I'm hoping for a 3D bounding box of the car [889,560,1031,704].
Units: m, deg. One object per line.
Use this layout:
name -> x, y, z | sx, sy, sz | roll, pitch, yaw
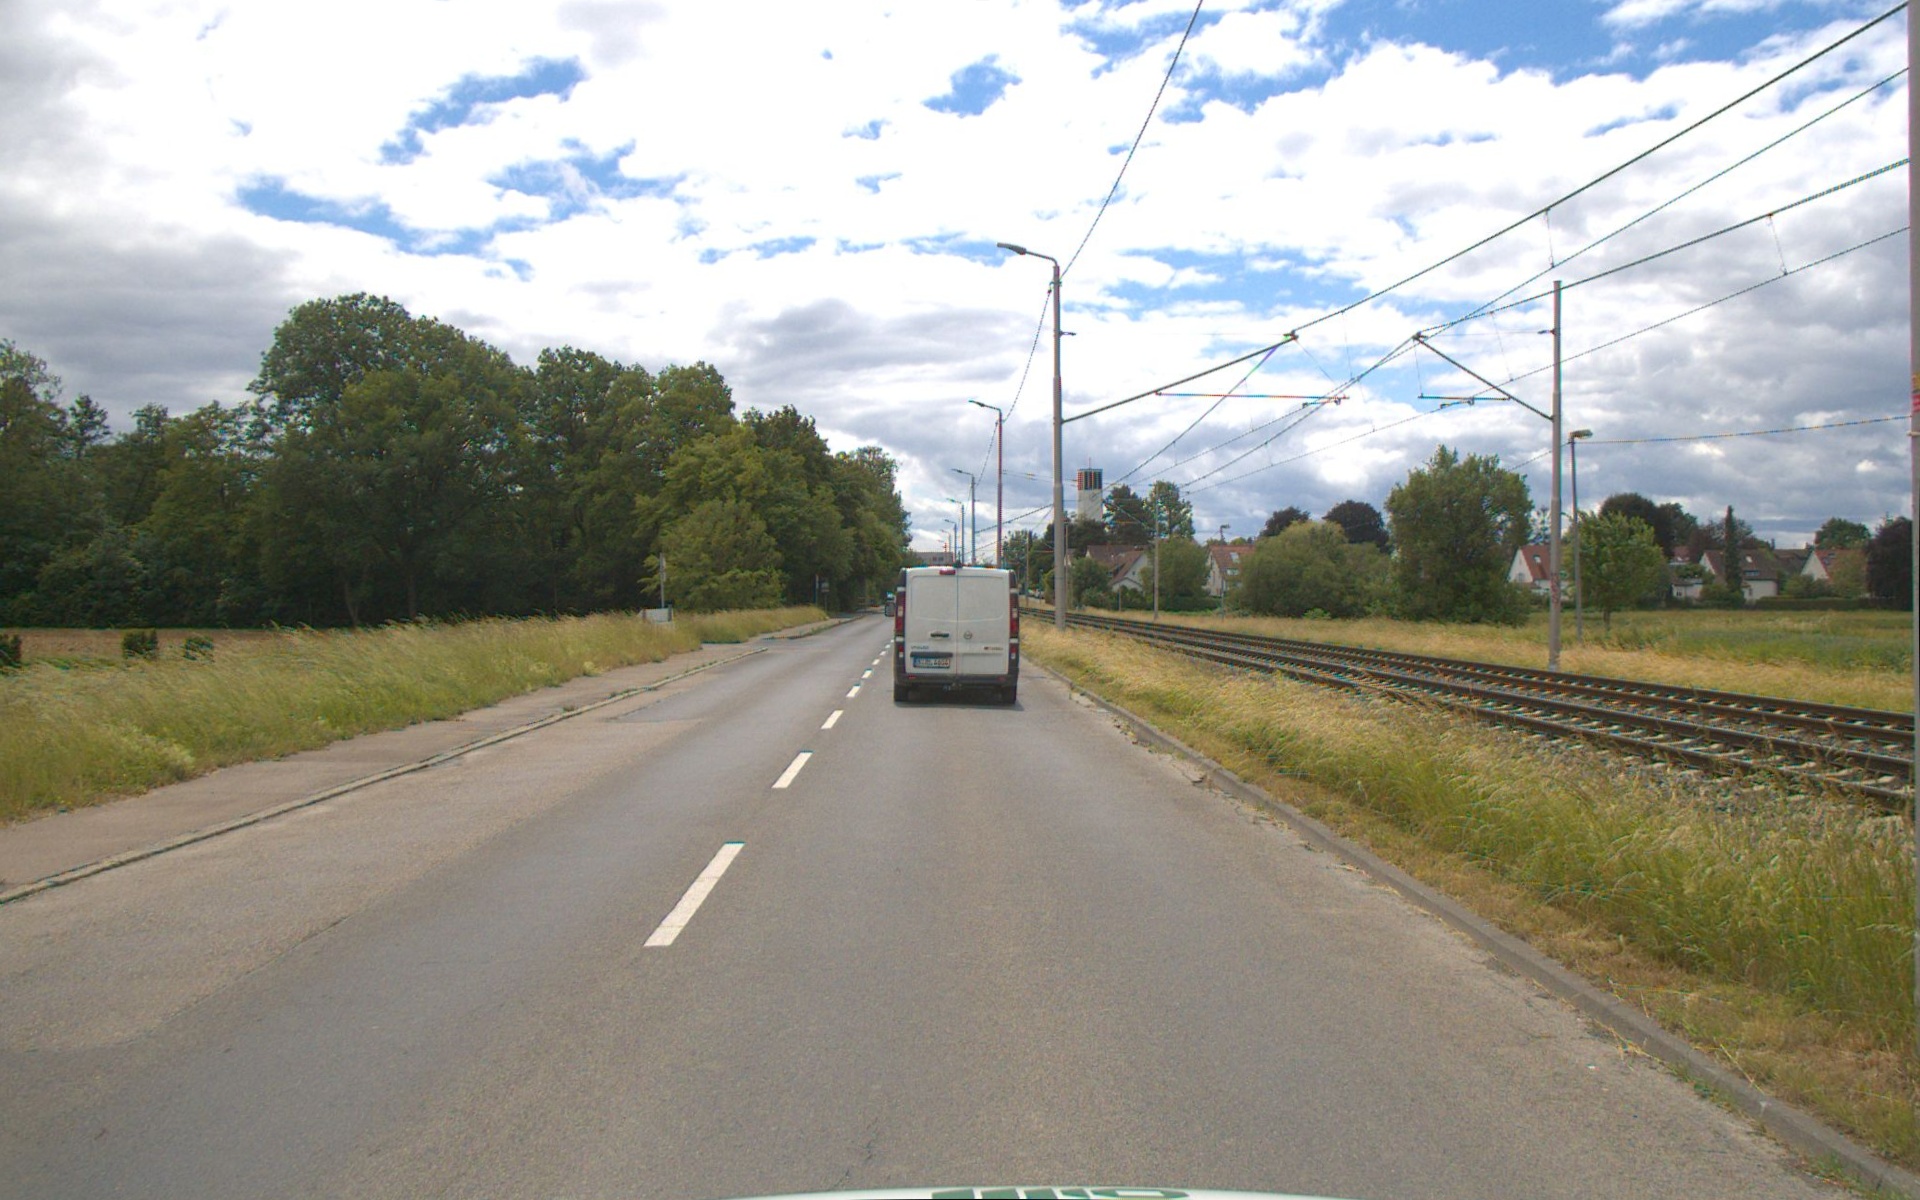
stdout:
car -> -0.075, 0.456, 25.209 | 1.953, 1.991, 3.998 | 1, 0, -2
